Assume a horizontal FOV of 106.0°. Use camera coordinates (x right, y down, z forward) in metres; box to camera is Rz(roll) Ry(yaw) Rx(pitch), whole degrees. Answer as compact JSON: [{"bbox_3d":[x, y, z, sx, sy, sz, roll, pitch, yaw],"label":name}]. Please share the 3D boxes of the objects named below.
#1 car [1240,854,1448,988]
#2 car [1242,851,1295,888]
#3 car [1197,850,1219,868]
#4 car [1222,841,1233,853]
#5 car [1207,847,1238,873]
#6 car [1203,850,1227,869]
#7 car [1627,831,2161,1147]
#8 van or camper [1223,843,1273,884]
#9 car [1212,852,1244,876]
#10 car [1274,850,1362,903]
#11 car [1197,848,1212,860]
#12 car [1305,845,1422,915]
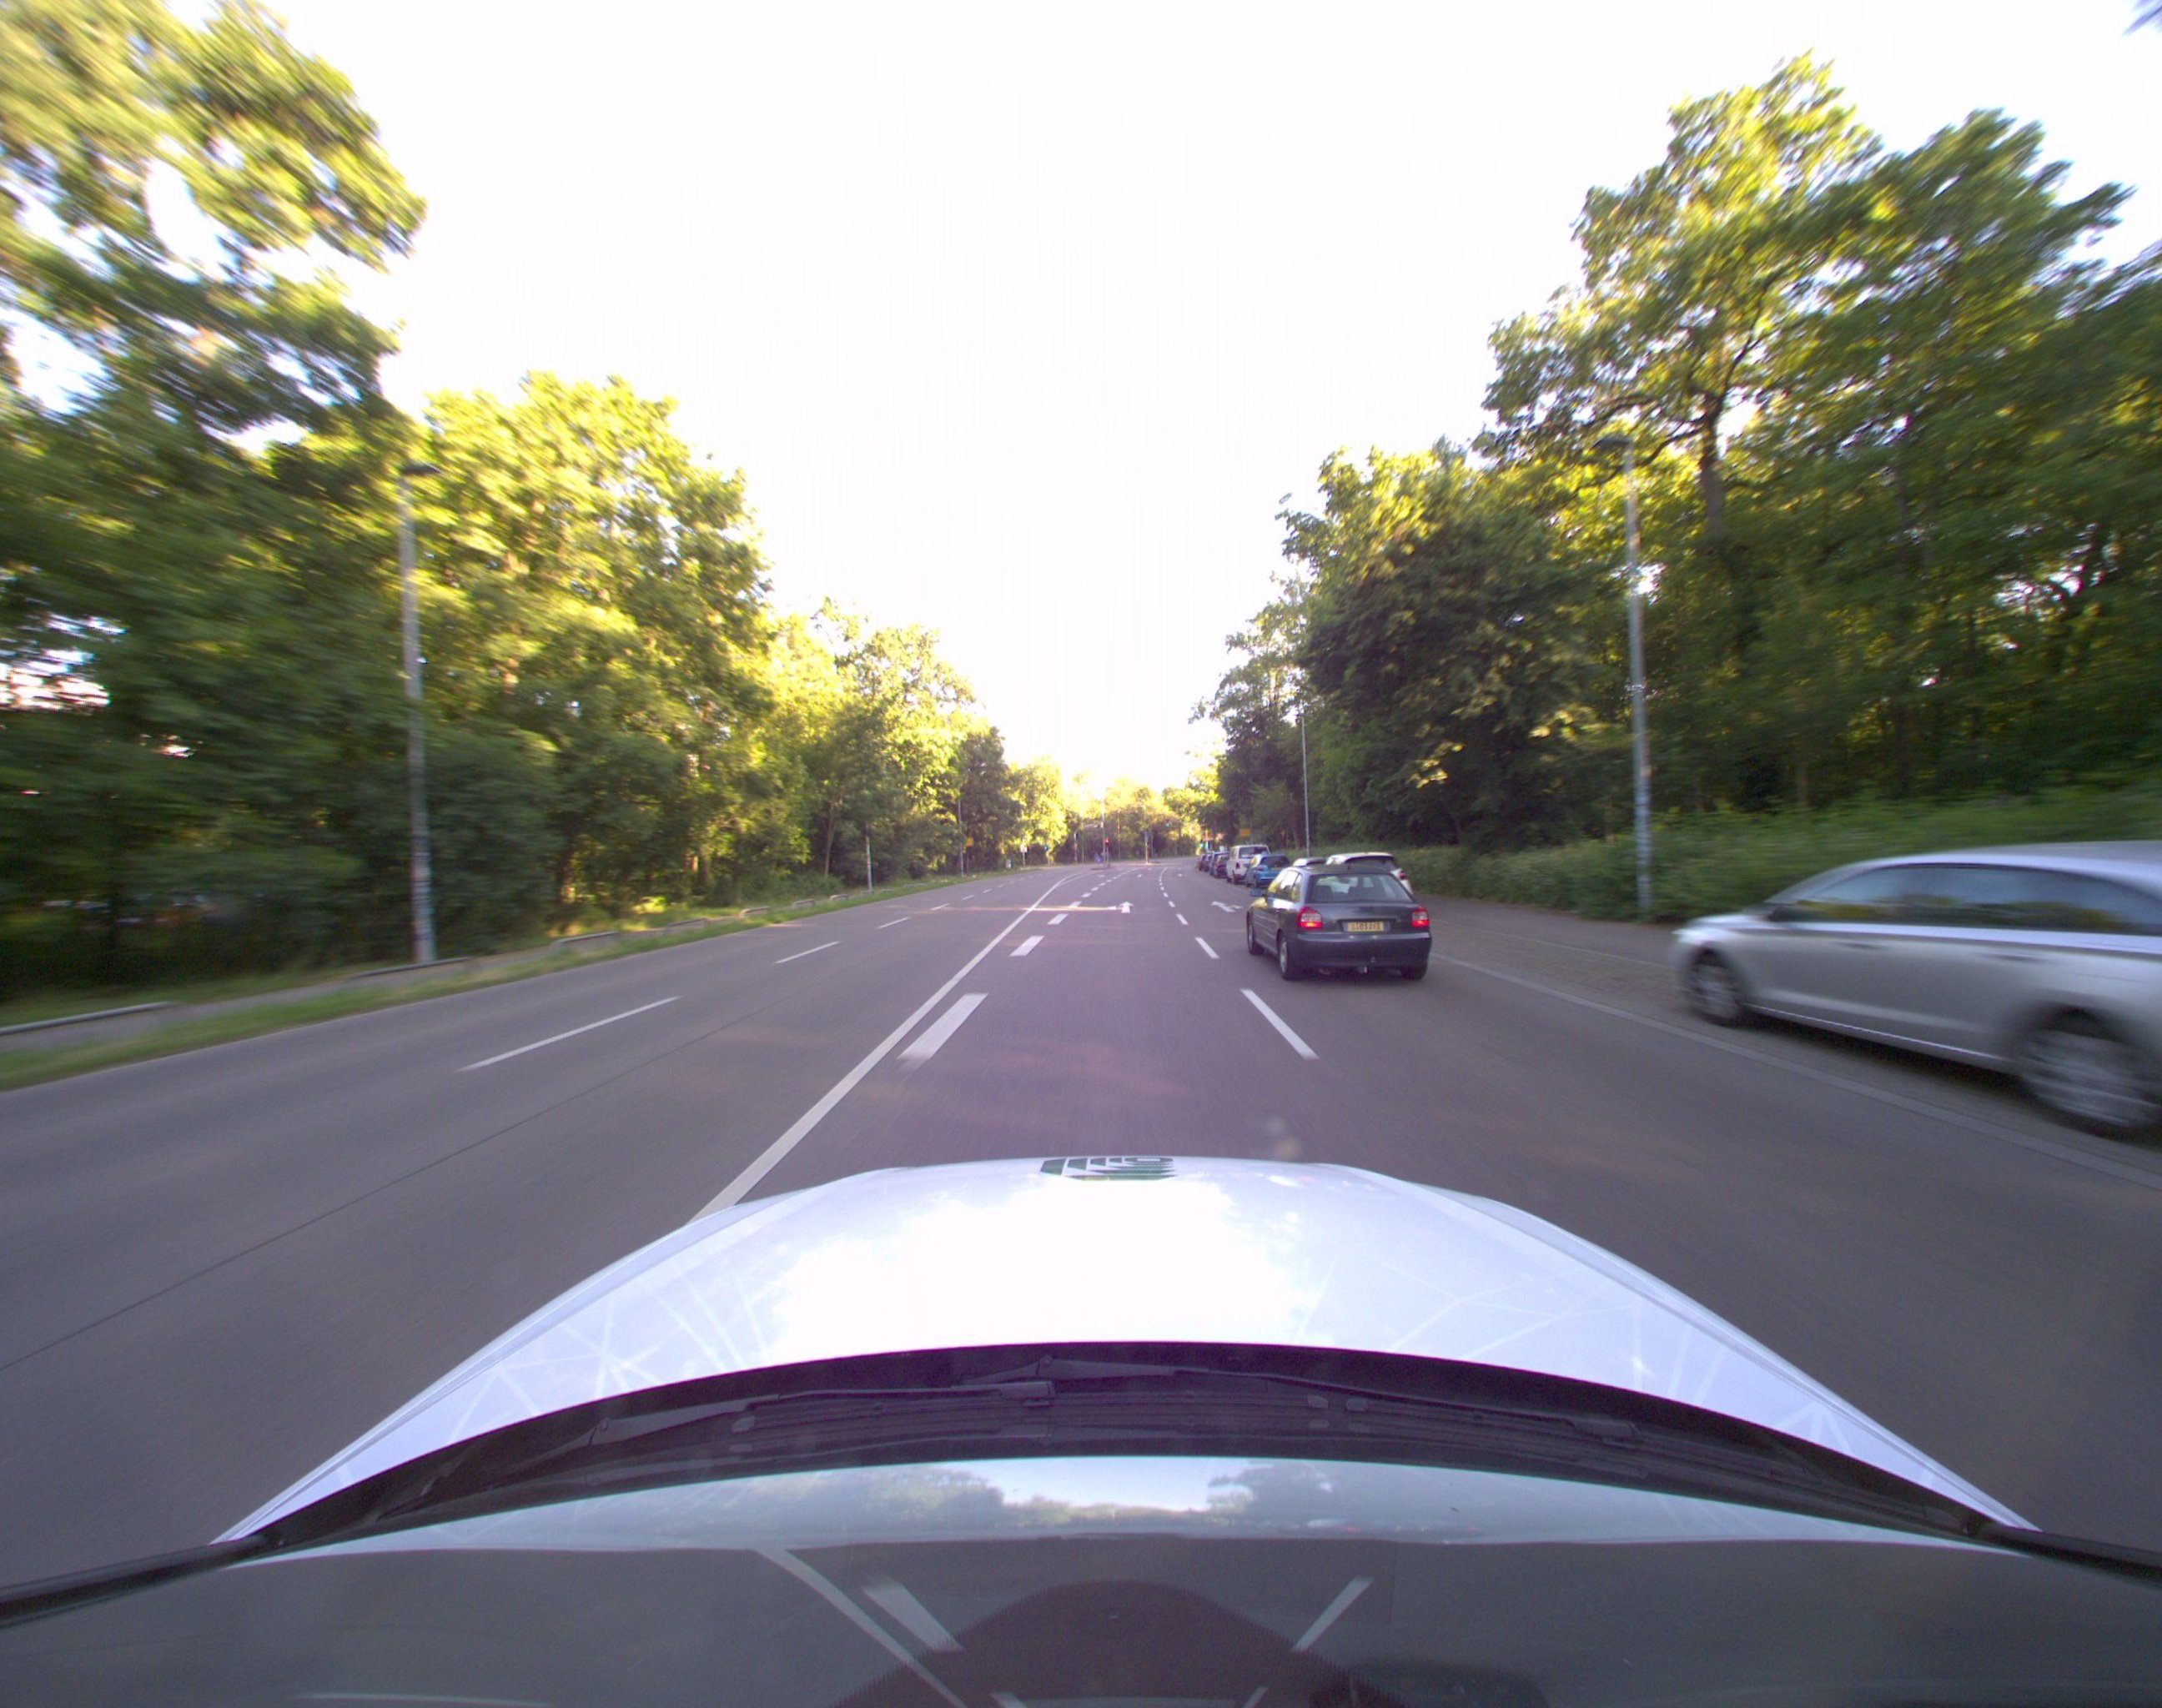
[{"bbox_3d":[3.327,0.751,11.130,1.720,1.441,4.093,-1,0,3],"label":"car"},{"bbox_3d":[8.272,0.639,36.223,1.641,1.522,3.870,-2,0,3],"label":"car"},{"bbox_3d":[11.500,0.444,73.729,1.719,1.461,4.174,-3,0,6],"label":"car"},{"bbox_3d":[31.535,-1.488,174.968,2.293,2.335,4.573,-2,0,10],"label":"car"},{"bbox_3d":[9.967,0.392,57.600,1.719,1.704,4.096,-3,0,5],"label":"car"},{"bbox_3d":[11.186,0.438,68.229,1.719,1.490,4.097,-3,0,6],"label":"car"},{"bbox_3d":[6.057,0.622,5.507,1.720,1.441,4.670,-3,0,3],"label":"car"},{"bbox_3d":[8.637,0.449,42.518,1.824,1.970,5.347,-1,0,4],"label":"van or camper"},{"bbox_3d":[9.352,0.590,52.168,1.642,1.441,4.119,-2,0,5],"label":"car"},{"bbox_3d":[7.118,0.630,24.830,1.720,1.409,4.095,-3,0,4],"label":"car"},{"bbox_3d":[18.328,0.028,120.950,1.984,1.618,4.006,-5,0,5],"label":"car"},{"bbox_3d":[6.854,0.577,20.220,1.720,1.522,4.095,-2,0,4],"label":"car"}]
